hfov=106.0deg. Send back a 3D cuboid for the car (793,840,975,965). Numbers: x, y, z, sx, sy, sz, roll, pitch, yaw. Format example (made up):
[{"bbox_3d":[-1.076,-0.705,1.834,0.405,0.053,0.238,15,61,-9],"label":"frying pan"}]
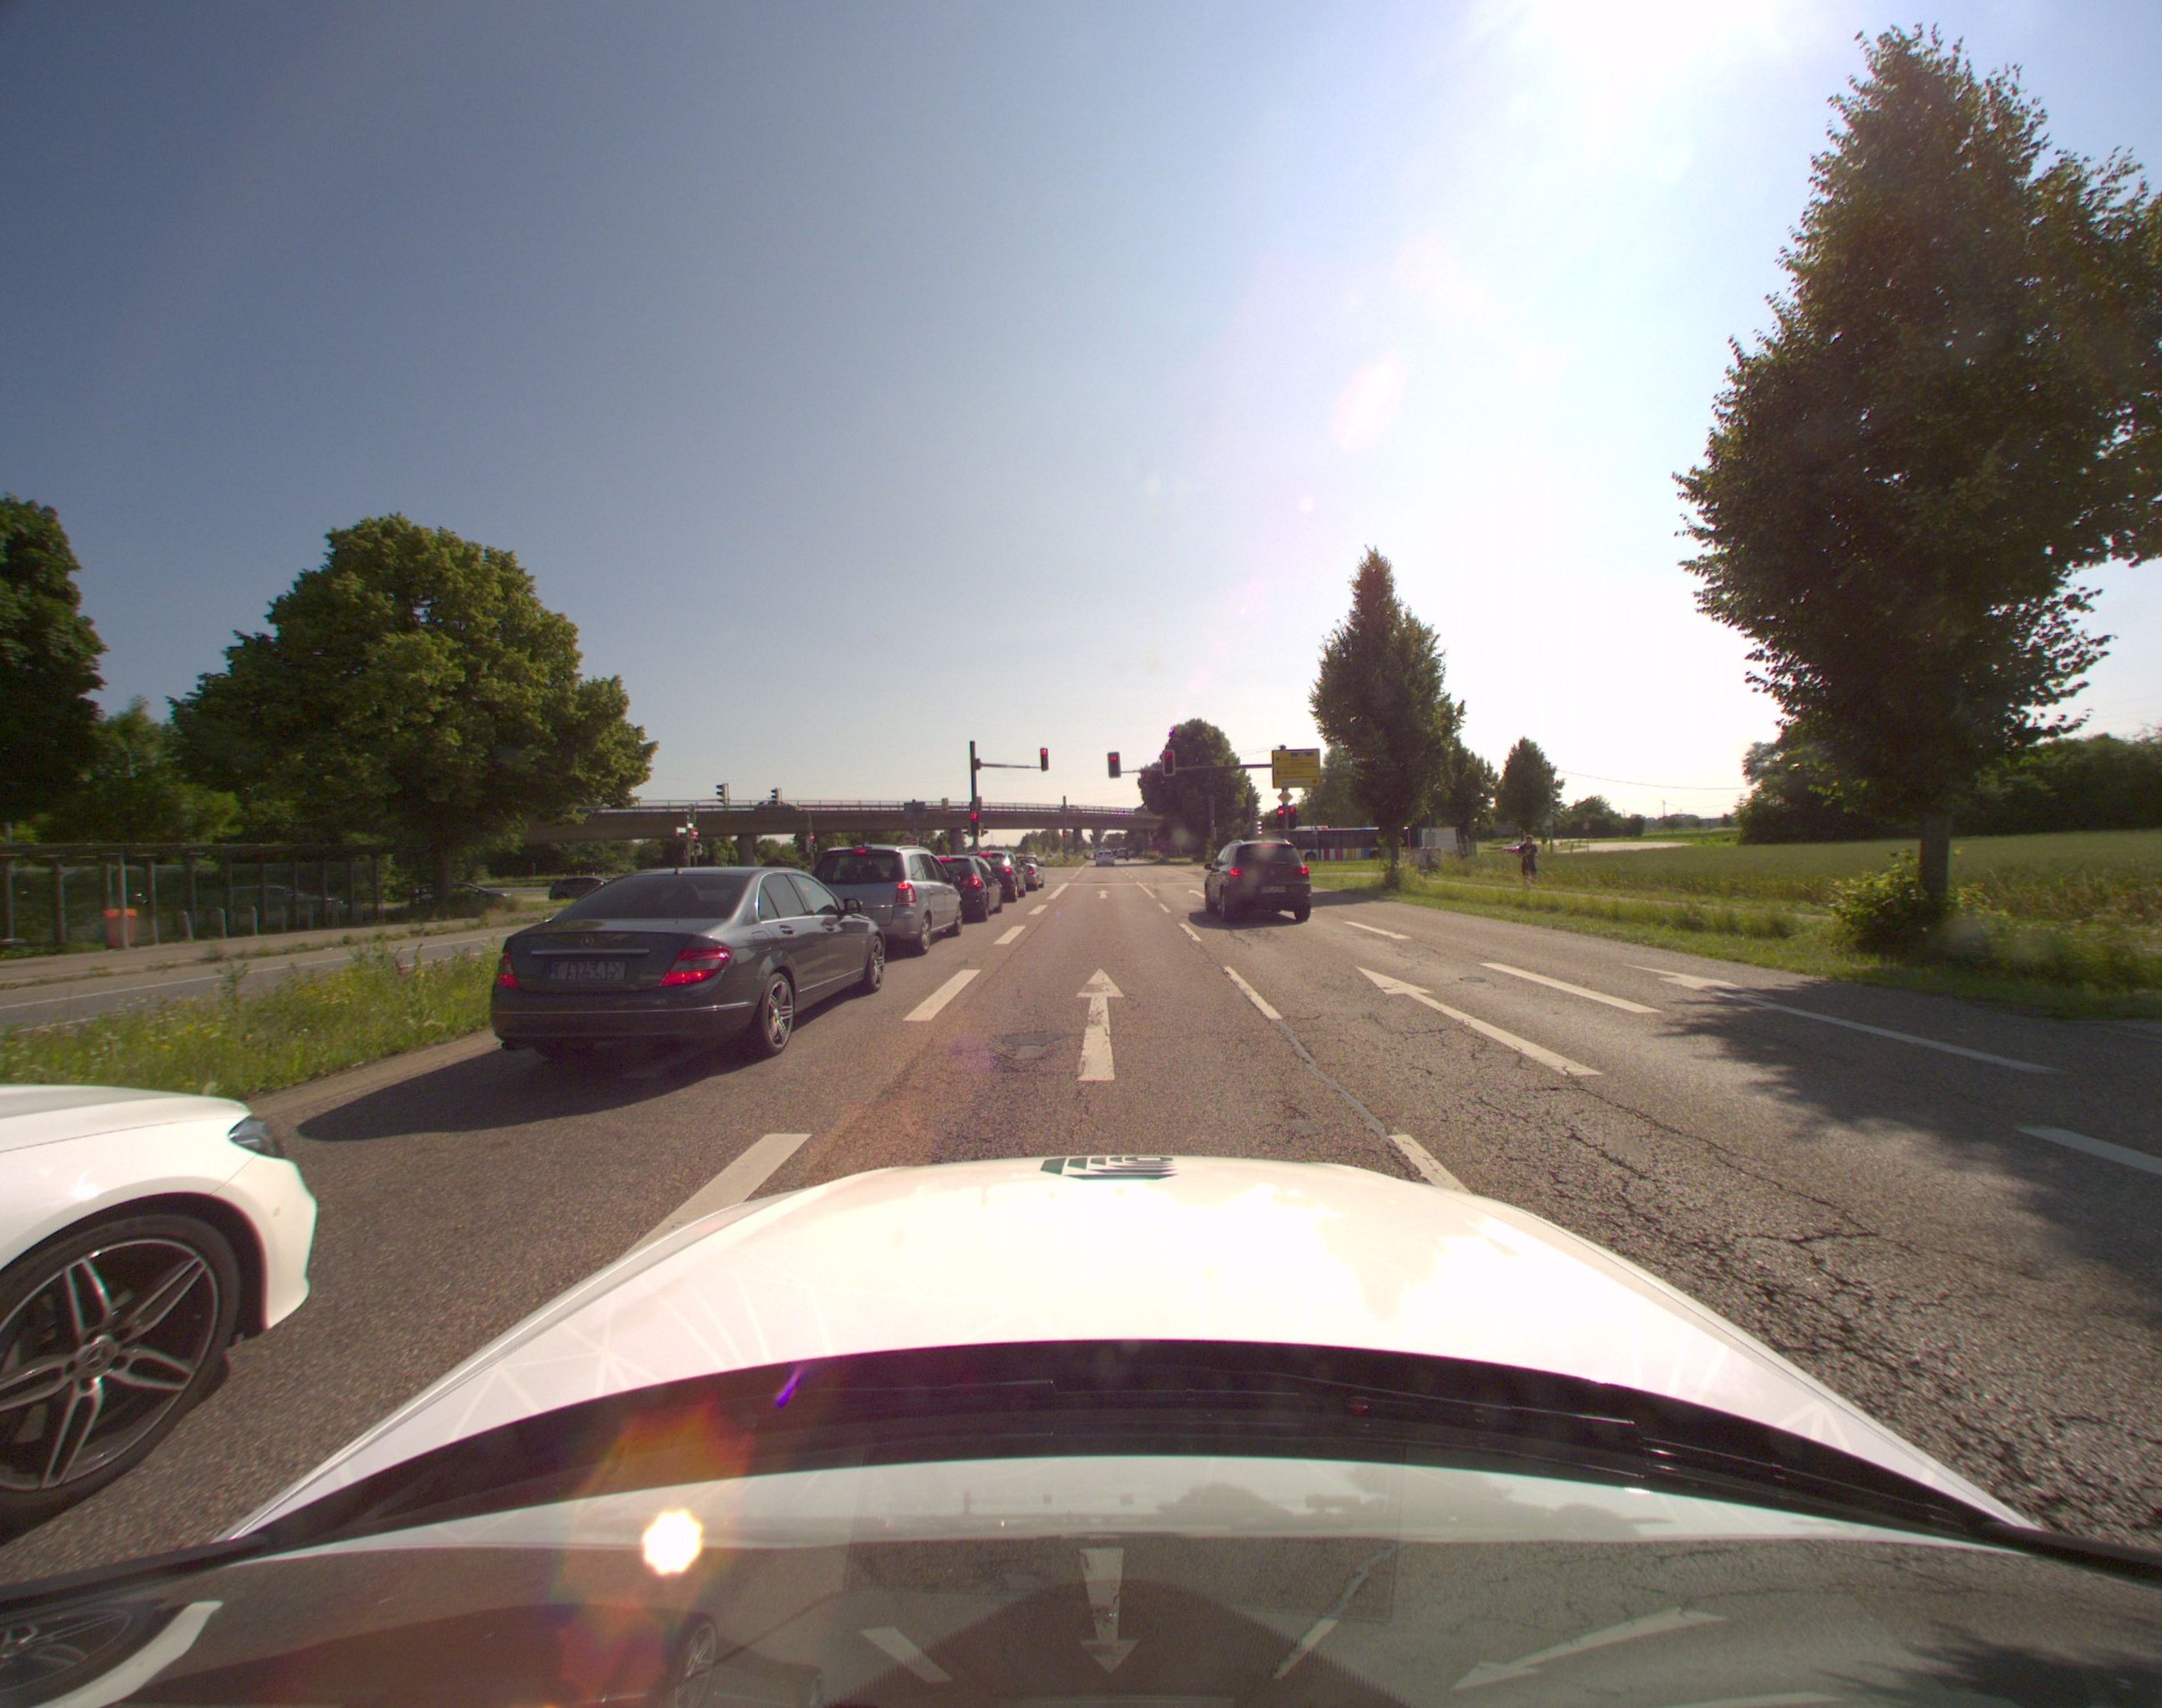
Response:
[{"bbox_3d":[-3.009,0.646,13.436,1.735,1.672,4.359,-2,0,2],"label":"car"}]

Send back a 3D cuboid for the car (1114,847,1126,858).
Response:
[{"bbox_3d":[5.964,-0.209,124.947,1.866,1.640,4.003,0,0,3],"label":"car"}]

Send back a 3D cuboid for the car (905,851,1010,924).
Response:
[{"bbox_3d":[-2.776,0.690,19.160,1.660,1.474,4.100,-1,0,2],"label":"car"}]

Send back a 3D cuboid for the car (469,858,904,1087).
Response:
[{"bbox_3d":[-3.017,0.773,7.421,1.708,1.410,4.357,0,0,2],"label":"car"}]

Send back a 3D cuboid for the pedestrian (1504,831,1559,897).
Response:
[{"bbox_3d":[13.190,0.278,23.860,0.899,1.839,1.194,-2,0,-1],"label":"pedestrian"}]

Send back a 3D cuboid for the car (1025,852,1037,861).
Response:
[{"bbox_3d":[-9.868,0.486,159.944,1.876,1.515,4.148,-5,0,0],"label":"car"}]

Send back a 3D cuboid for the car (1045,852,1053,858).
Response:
[{"bbox_3d":[-7.976,0.263,202.308,1.609,1.442,3.777,-4,0,1],"label":"car"}]

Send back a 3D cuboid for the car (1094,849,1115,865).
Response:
[{"bbox_3d":[2.198,0.263,74.972,1.843,1.461,4.003,-1,0,3],"label":"car"}]

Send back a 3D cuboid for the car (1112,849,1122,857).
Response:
[{"bbox_3d":[7.159,-0.185,161.194,1.986,1.631,4.001,0,-1,1],"label":"car"}]

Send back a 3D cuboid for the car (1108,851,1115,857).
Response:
[{"bbox_3d":[8.232,-0.072,220.816,1.986,1.655,4.002,0,-1,2],"label":"car"}]

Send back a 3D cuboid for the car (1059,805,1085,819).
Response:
[{"bbox_3d":[-1.260,-6.226,120.618,1.974,1.838,4.025,0,-1,31],"label":"car"}]

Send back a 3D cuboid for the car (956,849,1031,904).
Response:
[{"bbox_3d":[-2.664,0.630,25.650,1.722,1.547,4.100,-1,0,2],"label":"car"}]

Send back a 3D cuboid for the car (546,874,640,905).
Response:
[{"bbox_3d":[-27.323,1.955,45.738,4.126,1.424,1.859,-3,0,-19],"label":"car"}]

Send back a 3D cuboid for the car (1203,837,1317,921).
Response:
[{"bbox_3d":[3.844,0.496,18.151,1.749,1.655,4.148,0,0,2],"label":"car"}]

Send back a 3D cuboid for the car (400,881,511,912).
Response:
[{"bbox_3d":[-32.898,2.194,42.959,4.365,1.280,1.636,-3,0,-28],"label":"car"}]

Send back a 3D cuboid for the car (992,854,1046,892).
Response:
[{"bbox_3d":[-2.389,0.704,32.315,1.667,1.335,4.100,-1,0,2],"label":"car"}]

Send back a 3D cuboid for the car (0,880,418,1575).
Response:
[{"bbox_3d":[-3.223,0.828,0.453,1.796,1.425,4.643,-1,0,1],"label":"car"}]

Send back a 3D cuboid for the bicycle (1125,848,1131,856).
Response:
[{"bbox_3d":[5.955,-0.240,103.206,0.598,0.983,2.362,-2,0,2],"label":"bicycle"}]

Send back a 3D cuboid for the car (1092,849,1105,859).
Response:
[{"bbox_3d":[2.629,-0.027,121.350,1.866,1.492,4.003,-2,0,3],"label":"car"}]

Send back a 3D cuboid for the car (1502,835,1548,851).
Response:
[{"bbox_3d":[42.107,-1.018,77.231,4.001,1.398,1.670,-2,0,-20],"label":"car"}]

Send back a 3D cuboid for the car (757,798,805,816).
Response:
[{"bbox_3d":[-29.836,-4.675,80.979,1.975,1.486,4.024,0,-1,42],"label":"car"}]

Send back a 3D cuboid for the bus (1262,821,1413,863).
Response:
[{"bbox_3d":[21.040,-0.960,66.752,11.954,2.877,2.928,-3,0,-14],"label":"bus"}]

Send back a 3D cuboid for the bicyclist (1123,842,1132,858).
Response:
[{"bbox_3d":[5.857,-0.505,103.370,1.003,1.886,1.327,-2,0,1],"label":"bicyclist"}]
